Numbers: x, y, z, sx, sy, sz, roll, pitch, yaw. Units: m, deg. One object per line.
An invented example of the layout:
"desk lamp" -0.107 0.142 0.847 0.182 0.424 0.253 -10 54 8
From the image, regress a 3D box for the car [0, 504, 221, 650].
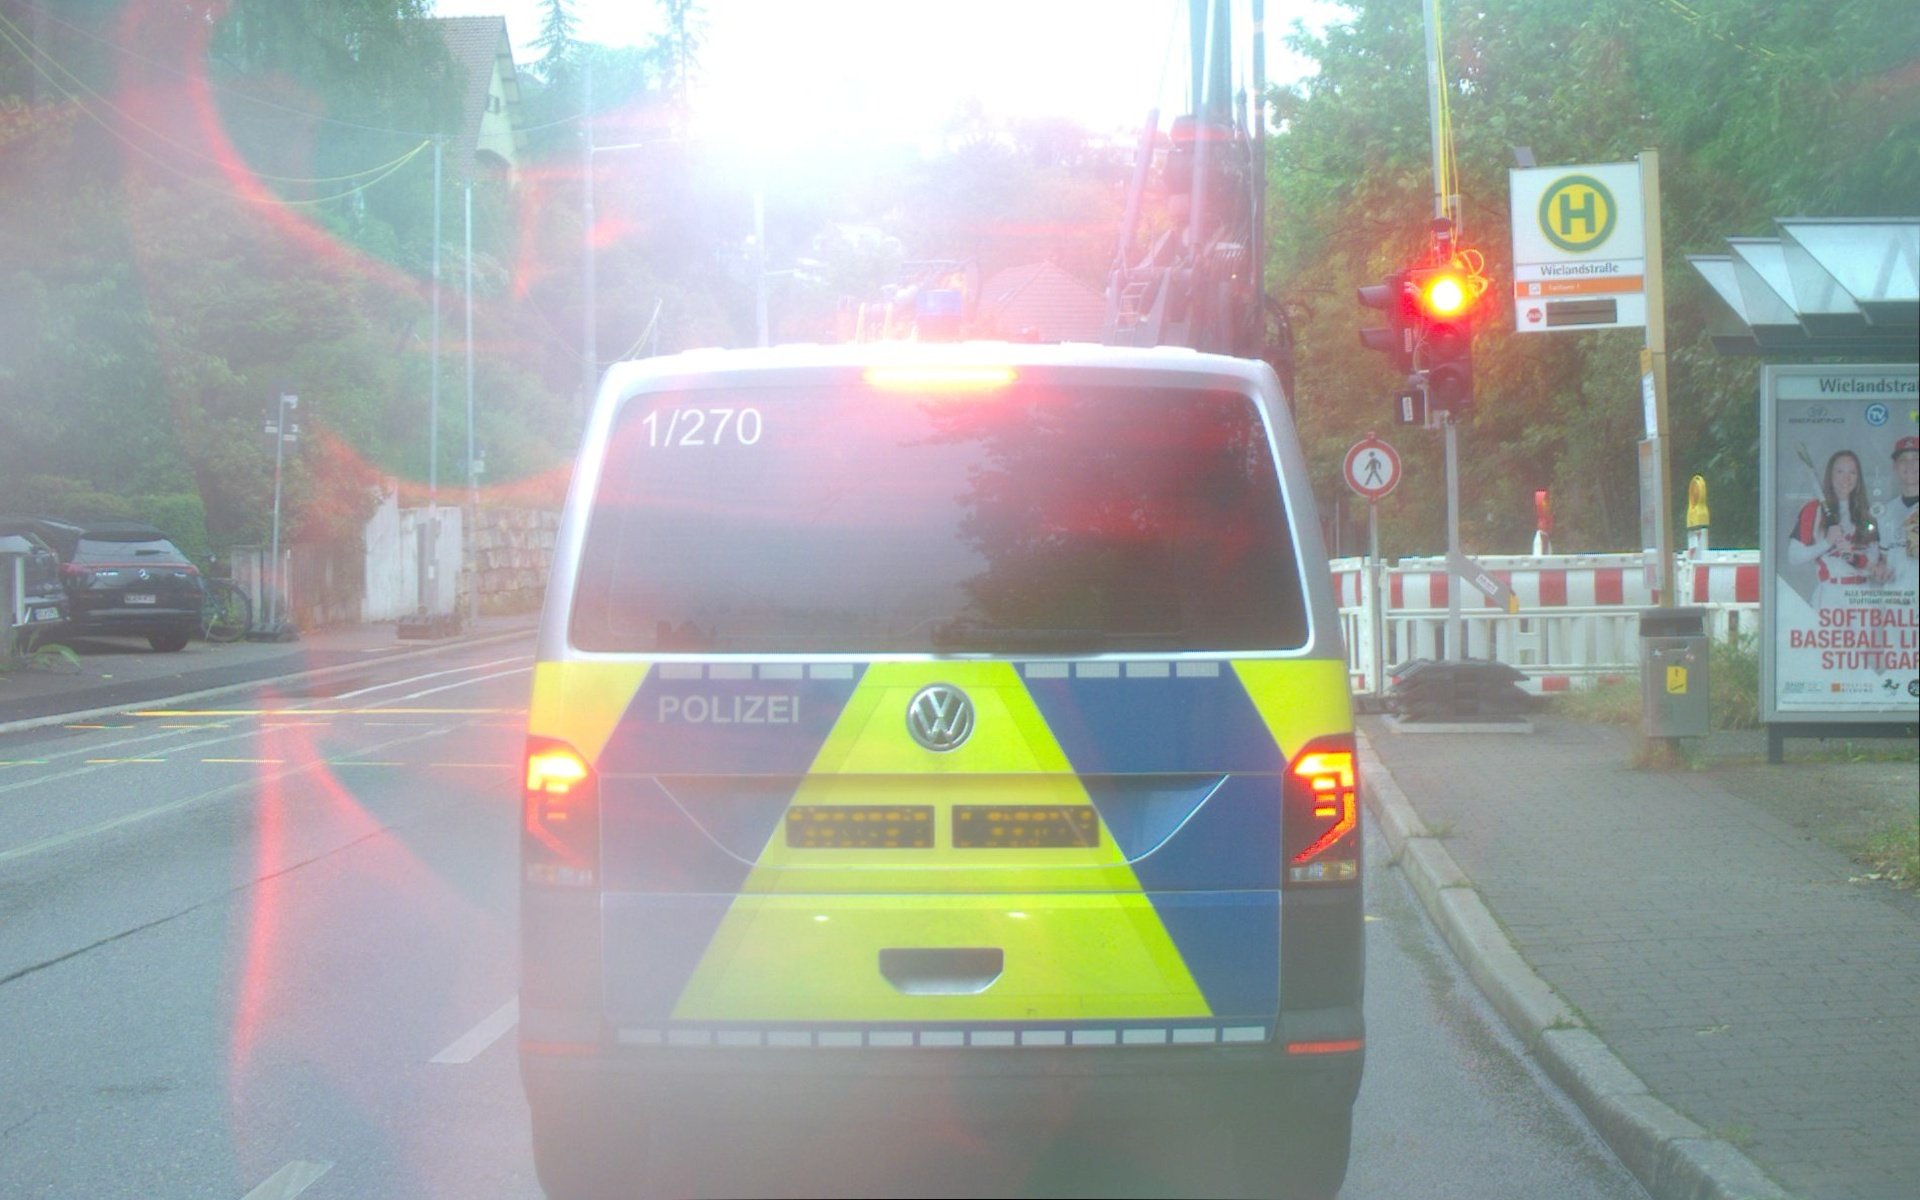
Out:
"car" -9.885 -0.282 37.856 1.781 1.520 3.999 0 1 -39

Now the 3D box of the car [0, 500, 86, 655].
"car" -11.149 -0.256 34.833 3.989 1.520 1.940 1 1 13

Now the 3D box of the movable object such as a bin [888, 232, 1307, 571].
"movable object such as a bin" 2.367 -3.062 55.836 3.689 5.049 7.150 -1 0 32

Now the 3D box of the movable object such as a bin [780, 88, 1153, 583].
"movable object such as a bin" 0.174 -2.329 31.648 2.879 4.156 4.486 -1 2 6

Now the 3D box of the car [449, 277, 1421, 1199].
"car" -0.076 0.351 9.051 1.908 2.003 4.440 1 1 -1
